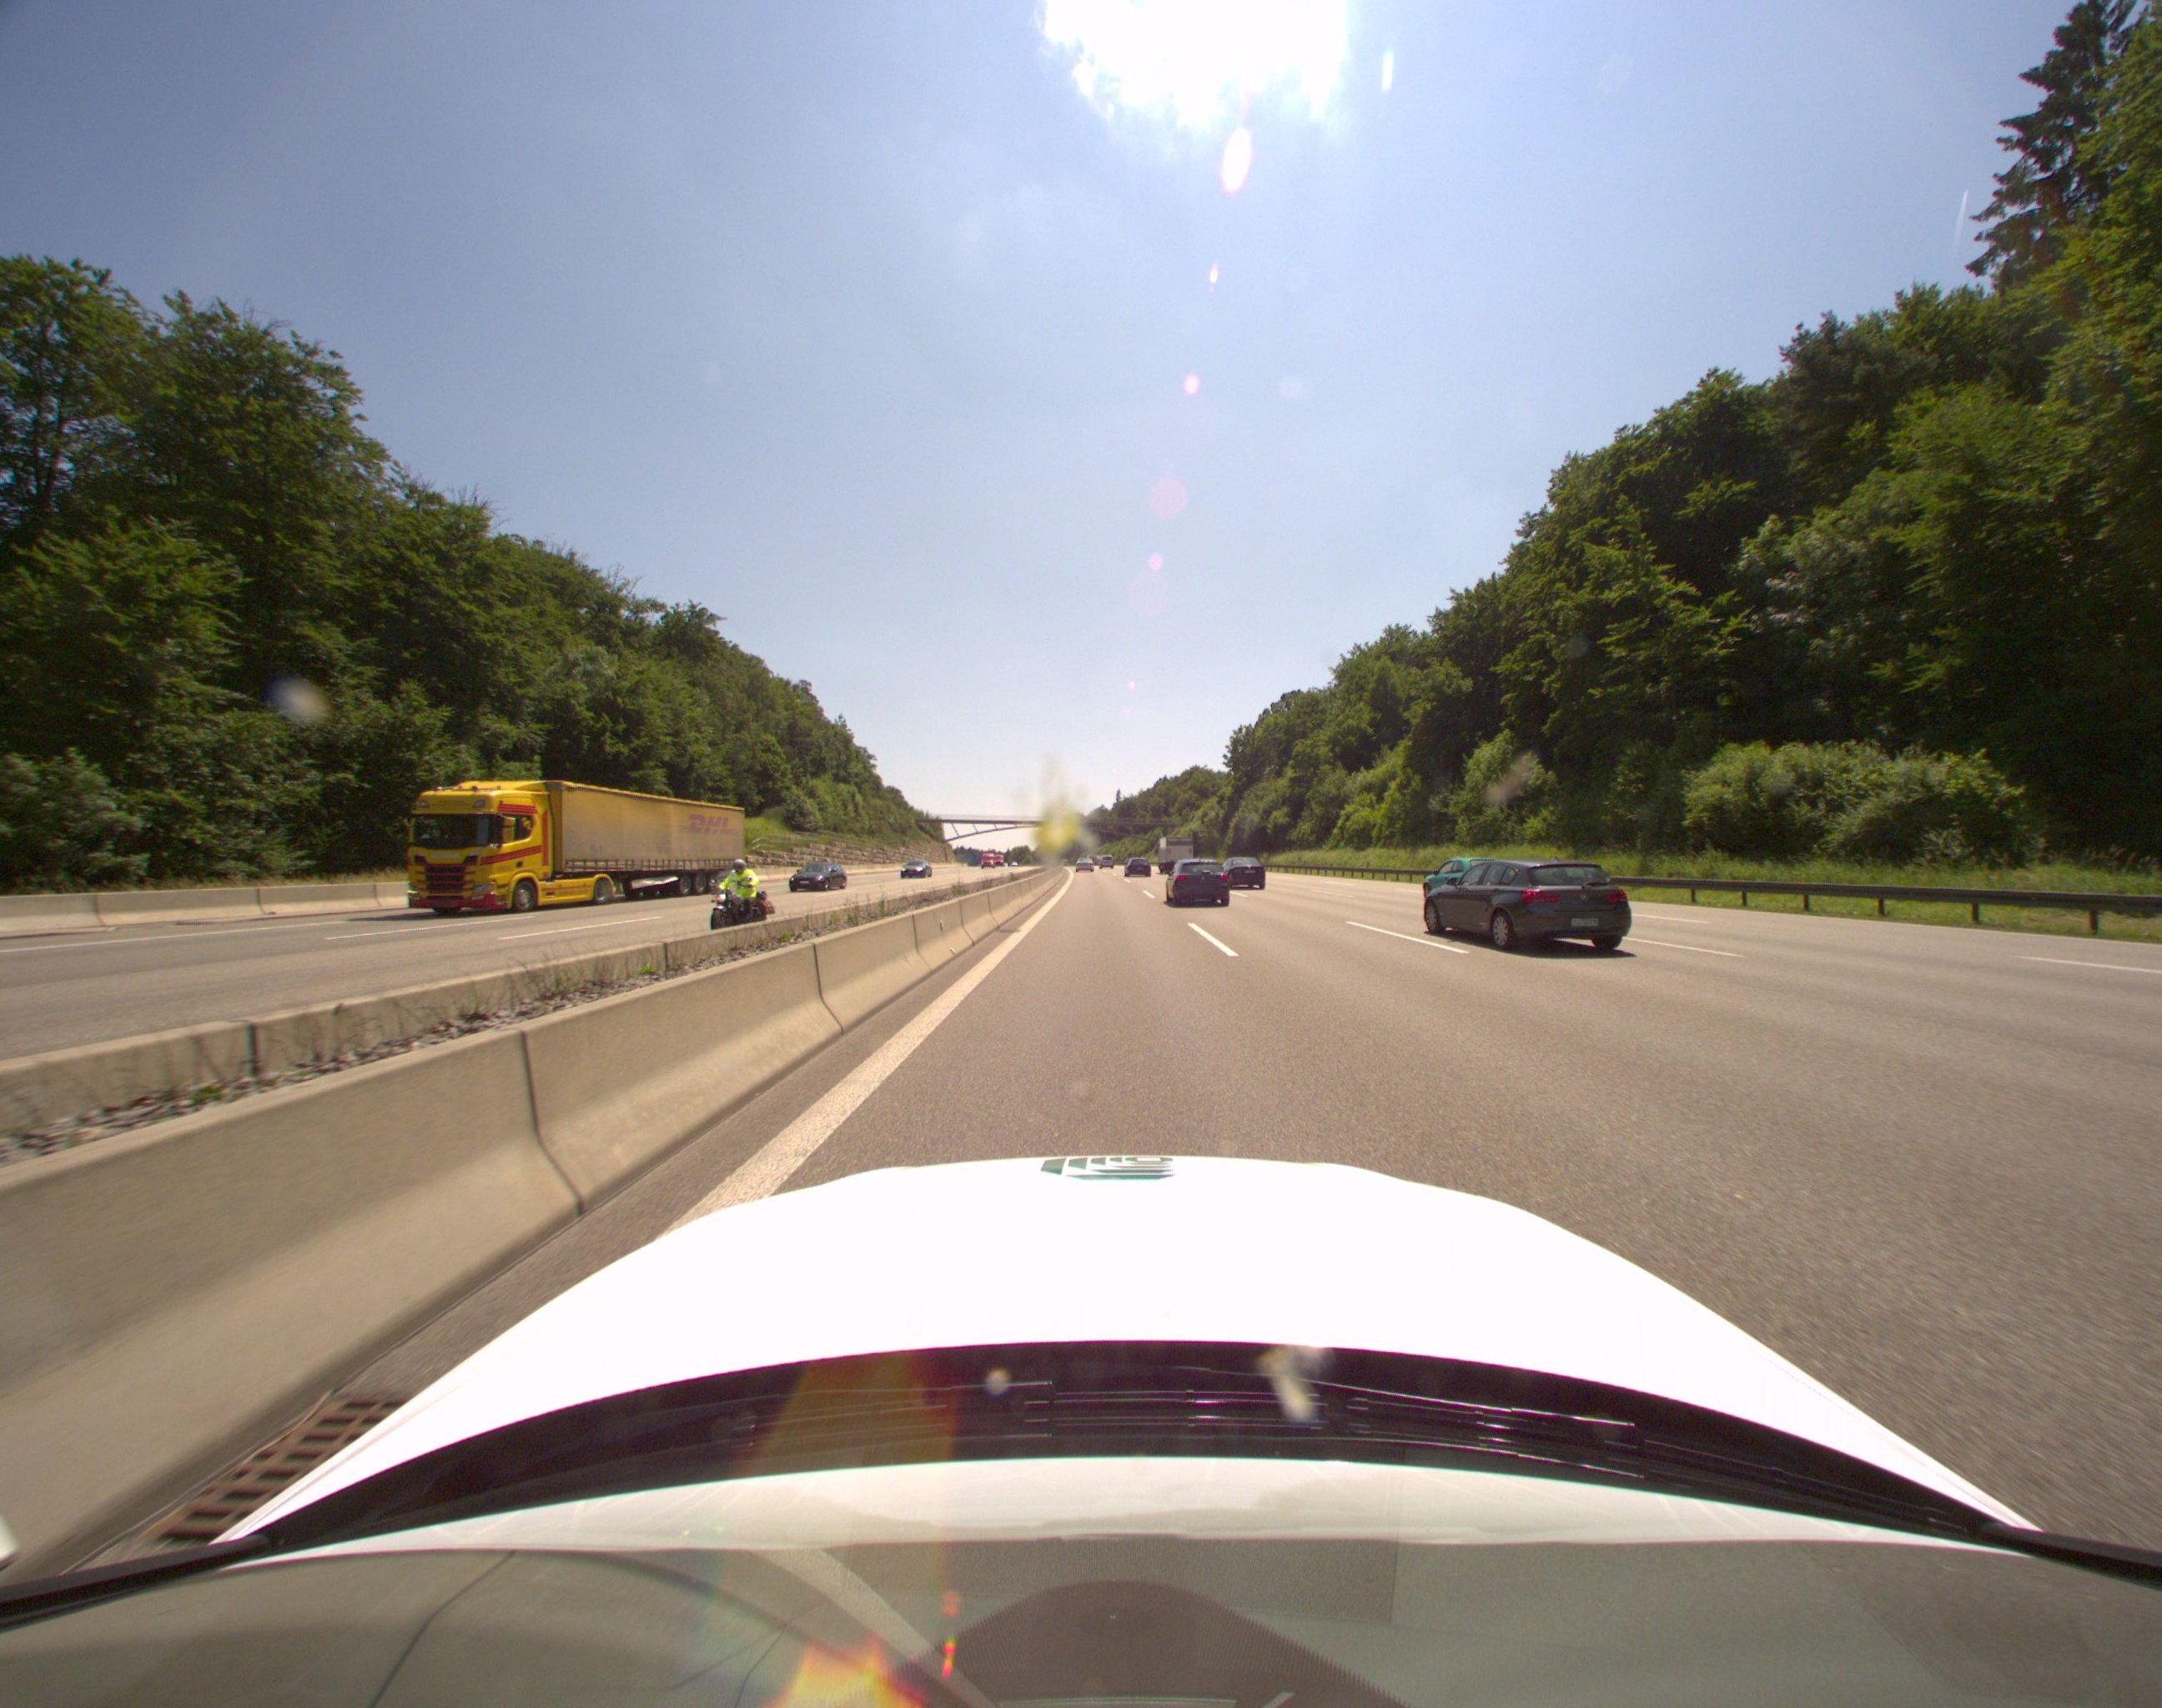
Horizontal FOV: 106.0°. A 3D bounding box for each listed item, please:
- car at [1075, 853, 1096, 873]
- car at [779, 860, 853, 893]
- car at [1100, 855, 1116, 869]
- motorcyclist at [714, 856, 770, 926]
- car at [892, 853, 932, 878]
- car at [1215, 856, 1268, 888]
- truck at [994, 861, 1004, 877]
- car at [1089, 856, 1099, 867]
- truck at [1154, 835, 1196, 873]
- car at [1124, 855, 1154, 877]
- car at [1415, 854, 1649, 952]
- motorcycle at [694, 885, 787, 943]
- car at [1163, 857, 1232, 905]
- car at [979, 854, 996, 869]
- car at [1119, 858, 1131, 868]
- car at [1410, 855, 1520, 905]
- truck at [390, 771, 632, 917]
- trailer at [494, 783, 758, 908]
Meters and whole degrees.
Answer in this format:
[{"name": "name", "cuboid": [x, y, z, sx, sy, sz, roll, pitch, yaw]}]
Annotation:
[{"name": "car", "cuboid": [0.439, 0.980, 85.271, 2.007, 1.846, 3.996, 0, -4, -2]}, {"name": "car", "cuboid": [-12.824, 1.053, 39.759, 1.986, 1.483, 4.581, 0, 0, 2]}, {"name": "car", "cuboid": [3.658, 1.081, 111.216, 2.096, 1.744, 4.687, 0, 0, 0]}, {"name": "motorcyclist", "cuboid": [-6.834, 0.732, 16.458, 0.725, 1.361, 0.906, 0, -1, 2]}, {"name": "car", "cuboid": [-12.983, 0.912, 62.859, 1.987, 1.872, 5.250, 1, -1, 0]}, {"name": "car", "cuboid": [7.456, 0.806, 38.229, 1.659, 1.408, 4.904, 0, 0, 1]}, {"name": "truck", "cuboid": [-17.011, 3.108, 168.694, 2.107, 2.976, 7.000, 0, 1, -6]}, {"name": "car", "cuboid": [3.058, 1.639, 185.292, 2.257, 2.371, 4.702, -1, -1, 1]}, {"name": "truck", "cuboid": [8.414, 0.007, 73.628, 2.976, 3.167, 7.573, 0, 0, 0]}, {"name": "car", "cuboid": [4.378, 0.902, 62.108, 1.987, 1.634, 4.758, 0, 0, 0]}, {"name": "car", "cuboid": [7.327, 0.718, 13.772, 1.696, 1.396, 4.154, 0, 0, 1]}, {"name": "motorcycle", "cuboid": [-6.834, 1.171, 16.507, 0.724, 1.014, 2.528, 0, 0, 2]}, {"name": "car", "cuboid": [3.660, 0.816, 26.181, 1.702, 1.433, 4.000, 0, -1, 1]}, {"name": "car", "cuboid": [-14.413, 1.160, 126.093, 1.987, 2.336, 5.543, 0, 0, 0]}, {"name": "car", "cuboid": [8.125, 1.630, 151.886, 2.137, 1.858, 4.001, 0, 0, 1]}, {"name": "car", "cuboid": [12.194, 0.777, 26.180, 1.539, 1.444, 4.341, -1, 0, 1]}, {"name": "truck", "cuboid": [-17.567, -0.263, 25.796, 2.740, 4.017, 6.754, 0, 0, 2]}, {"name": "trailer", "cuboid": [-17.395, -0.250, 33.106, 2.713, 4.004, 13.729, 0, 0, 1]}]
